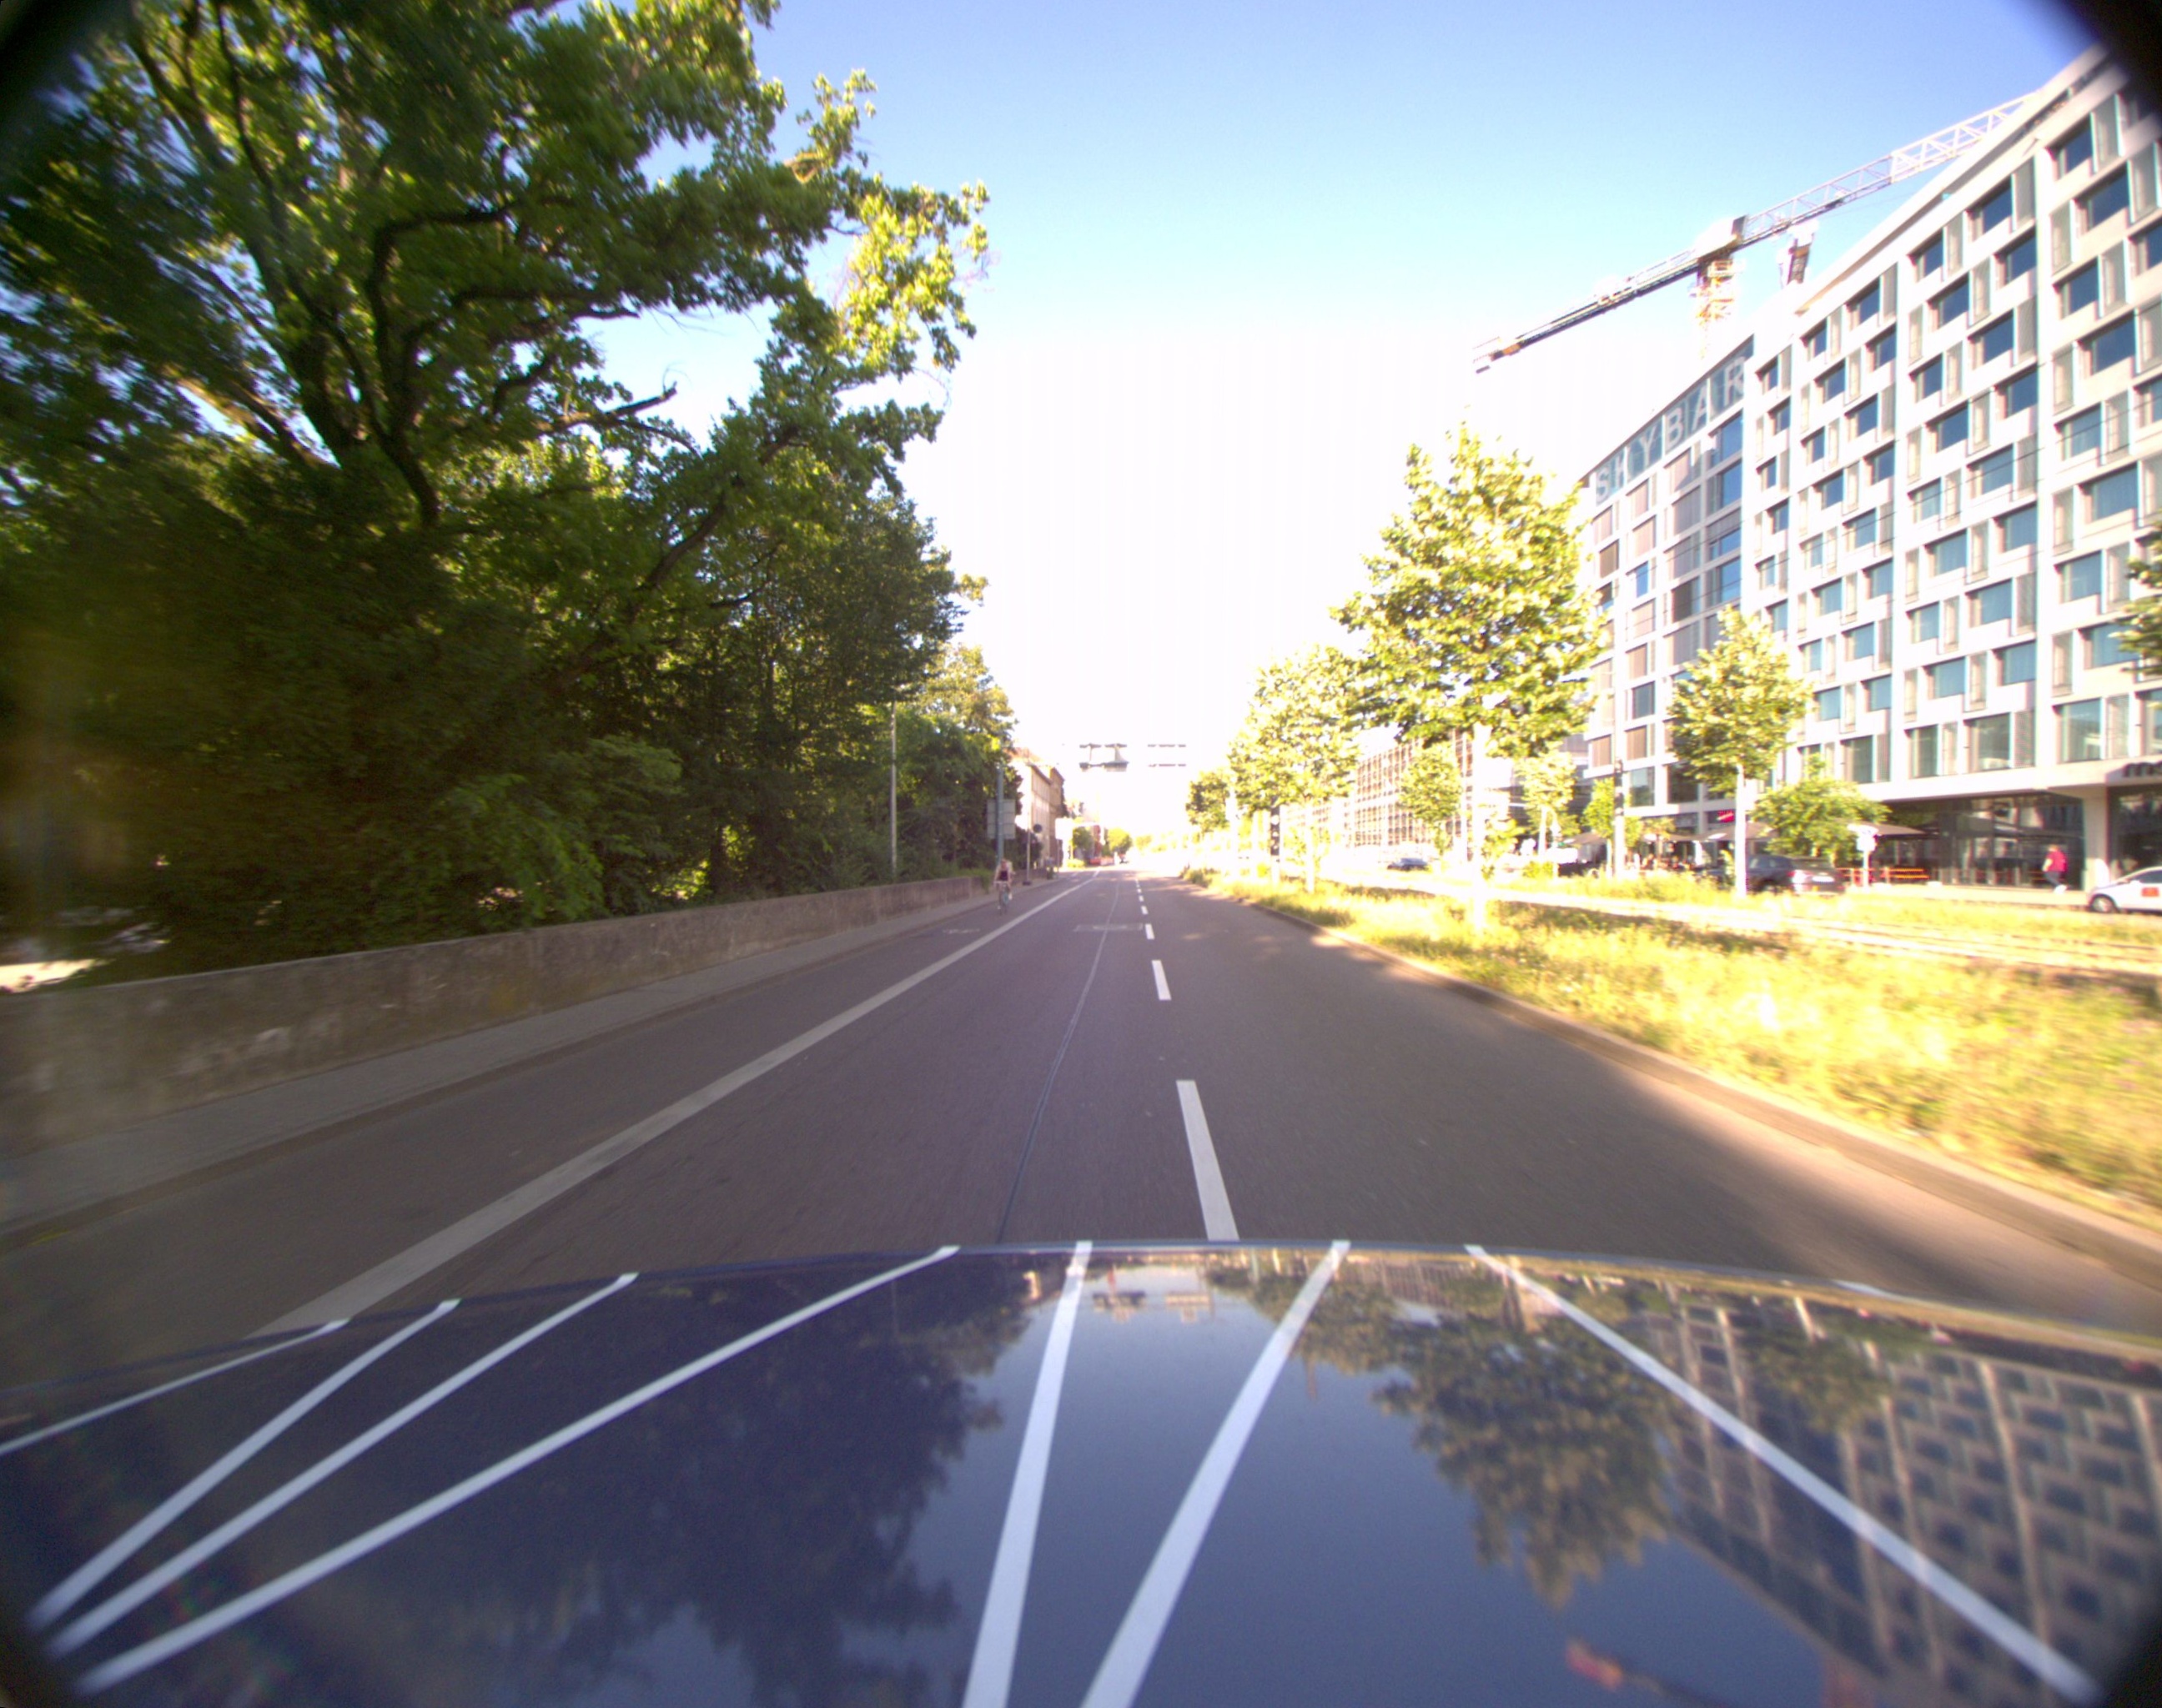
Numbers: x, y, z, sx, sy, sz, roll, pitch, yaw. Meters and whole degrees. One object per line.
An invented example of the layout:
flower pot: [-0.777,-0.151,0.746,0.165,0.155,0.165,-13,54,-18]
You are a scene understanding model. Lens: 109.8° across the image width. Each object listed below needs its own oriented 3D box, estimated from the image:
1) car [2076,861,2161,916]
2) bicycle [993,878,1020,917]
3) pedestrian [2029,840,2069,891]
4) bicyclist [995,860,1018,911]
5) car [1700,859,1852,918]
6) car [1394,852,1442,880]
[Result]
car: [31.578,0.995,21.726,1.874,1.457,3.390,-2,1,4]
bicycle: [-2.091,1.202,21.366,0.505,1.018,1.506,0,1,4]
pedestrian: [38.425,0.459,30.176,0.621,2.002,0.726,0,1,4]
bicyclist: [-2.091,0.884,21.397,0.516,1.399,0.805,0,1,3]
car: [23.494,1.103,25.900,1.874,1.742,3.793,-2,1,4]
car: [23.379,0.807,52.828,1.874,1.742,3.793,-2,1,4]
